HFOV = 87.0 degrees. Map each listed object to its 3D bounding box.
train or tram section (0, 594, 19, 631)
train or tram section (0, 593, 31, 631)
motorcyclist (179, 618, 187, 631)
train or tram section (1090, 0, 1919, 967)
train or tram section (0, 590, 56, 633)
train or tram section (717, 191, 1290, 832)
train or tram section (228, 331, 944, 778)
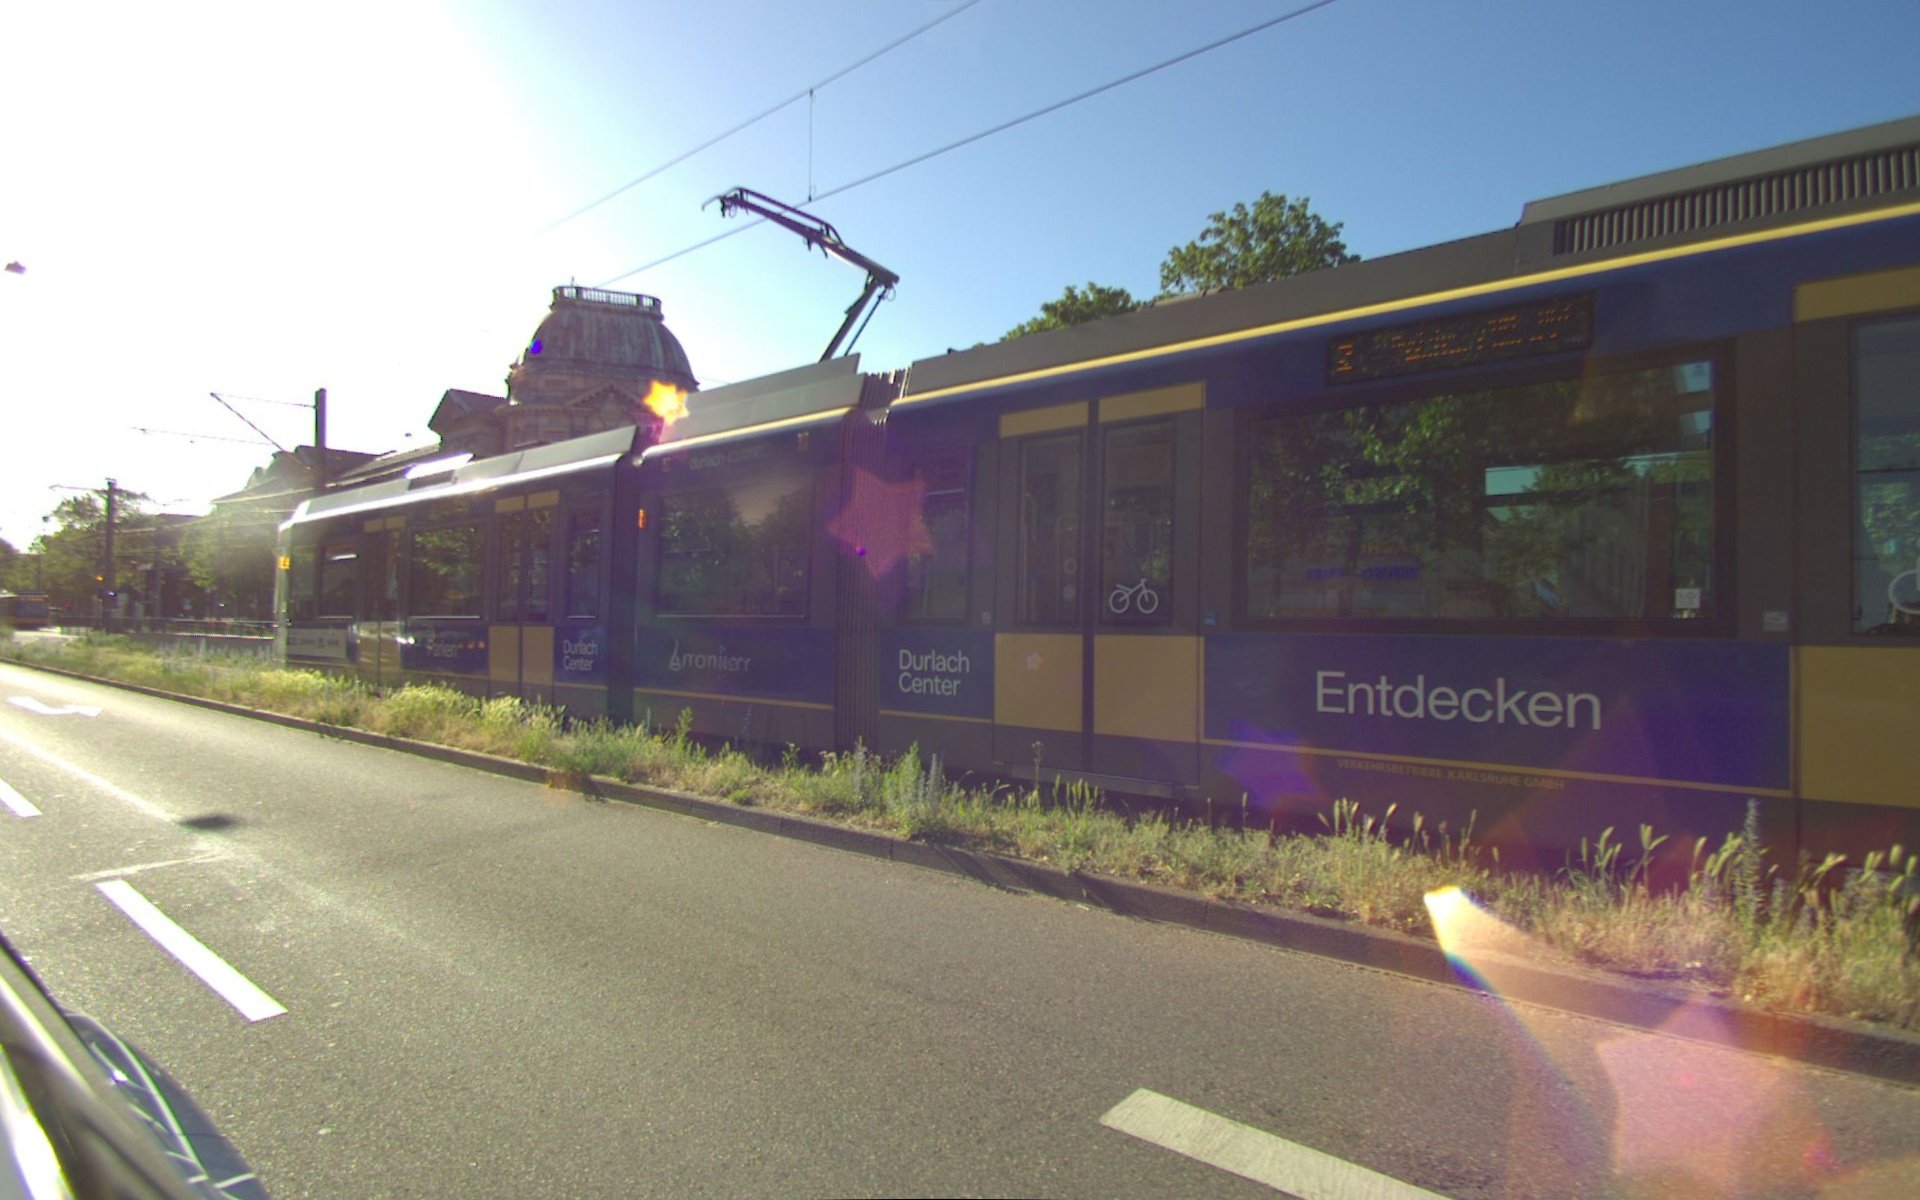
[{"bbox_3d":[-99.902,1.368,103.259,21.195,3.510,2.934,-1,-1,39],"label":"train or tram section"},{"bbox_3d":[-89.412,1.155,94.624,6.054,3.510,2.927,-1,-1,40],"label":"train or tram section"},{"bbox_3d":[-72.848,2.303,94.906,0.692,1.267,0.508,-1,0,45],"label":"motorcyclist"},{"bbox_3d":[5.855,-0.599,3.846,10.795,3.926,2.923,-1,0,40],"label":"train or tram section"},{"bbox_3d":[-82.709,1.035,89.107,11.275,3.510,2.932,-1,-1,39],"label":"train or tram section"},{"bbox_3d":[0.333,-0.545,8.584,3.863,3.926,2.925,-1,0,40],"label":"train or tram section"},{"bbox_3d":[-6.563,-0.350,14.425,14.262,3.841,2.899,-1,0,40],"label":"train or tram section"}]
